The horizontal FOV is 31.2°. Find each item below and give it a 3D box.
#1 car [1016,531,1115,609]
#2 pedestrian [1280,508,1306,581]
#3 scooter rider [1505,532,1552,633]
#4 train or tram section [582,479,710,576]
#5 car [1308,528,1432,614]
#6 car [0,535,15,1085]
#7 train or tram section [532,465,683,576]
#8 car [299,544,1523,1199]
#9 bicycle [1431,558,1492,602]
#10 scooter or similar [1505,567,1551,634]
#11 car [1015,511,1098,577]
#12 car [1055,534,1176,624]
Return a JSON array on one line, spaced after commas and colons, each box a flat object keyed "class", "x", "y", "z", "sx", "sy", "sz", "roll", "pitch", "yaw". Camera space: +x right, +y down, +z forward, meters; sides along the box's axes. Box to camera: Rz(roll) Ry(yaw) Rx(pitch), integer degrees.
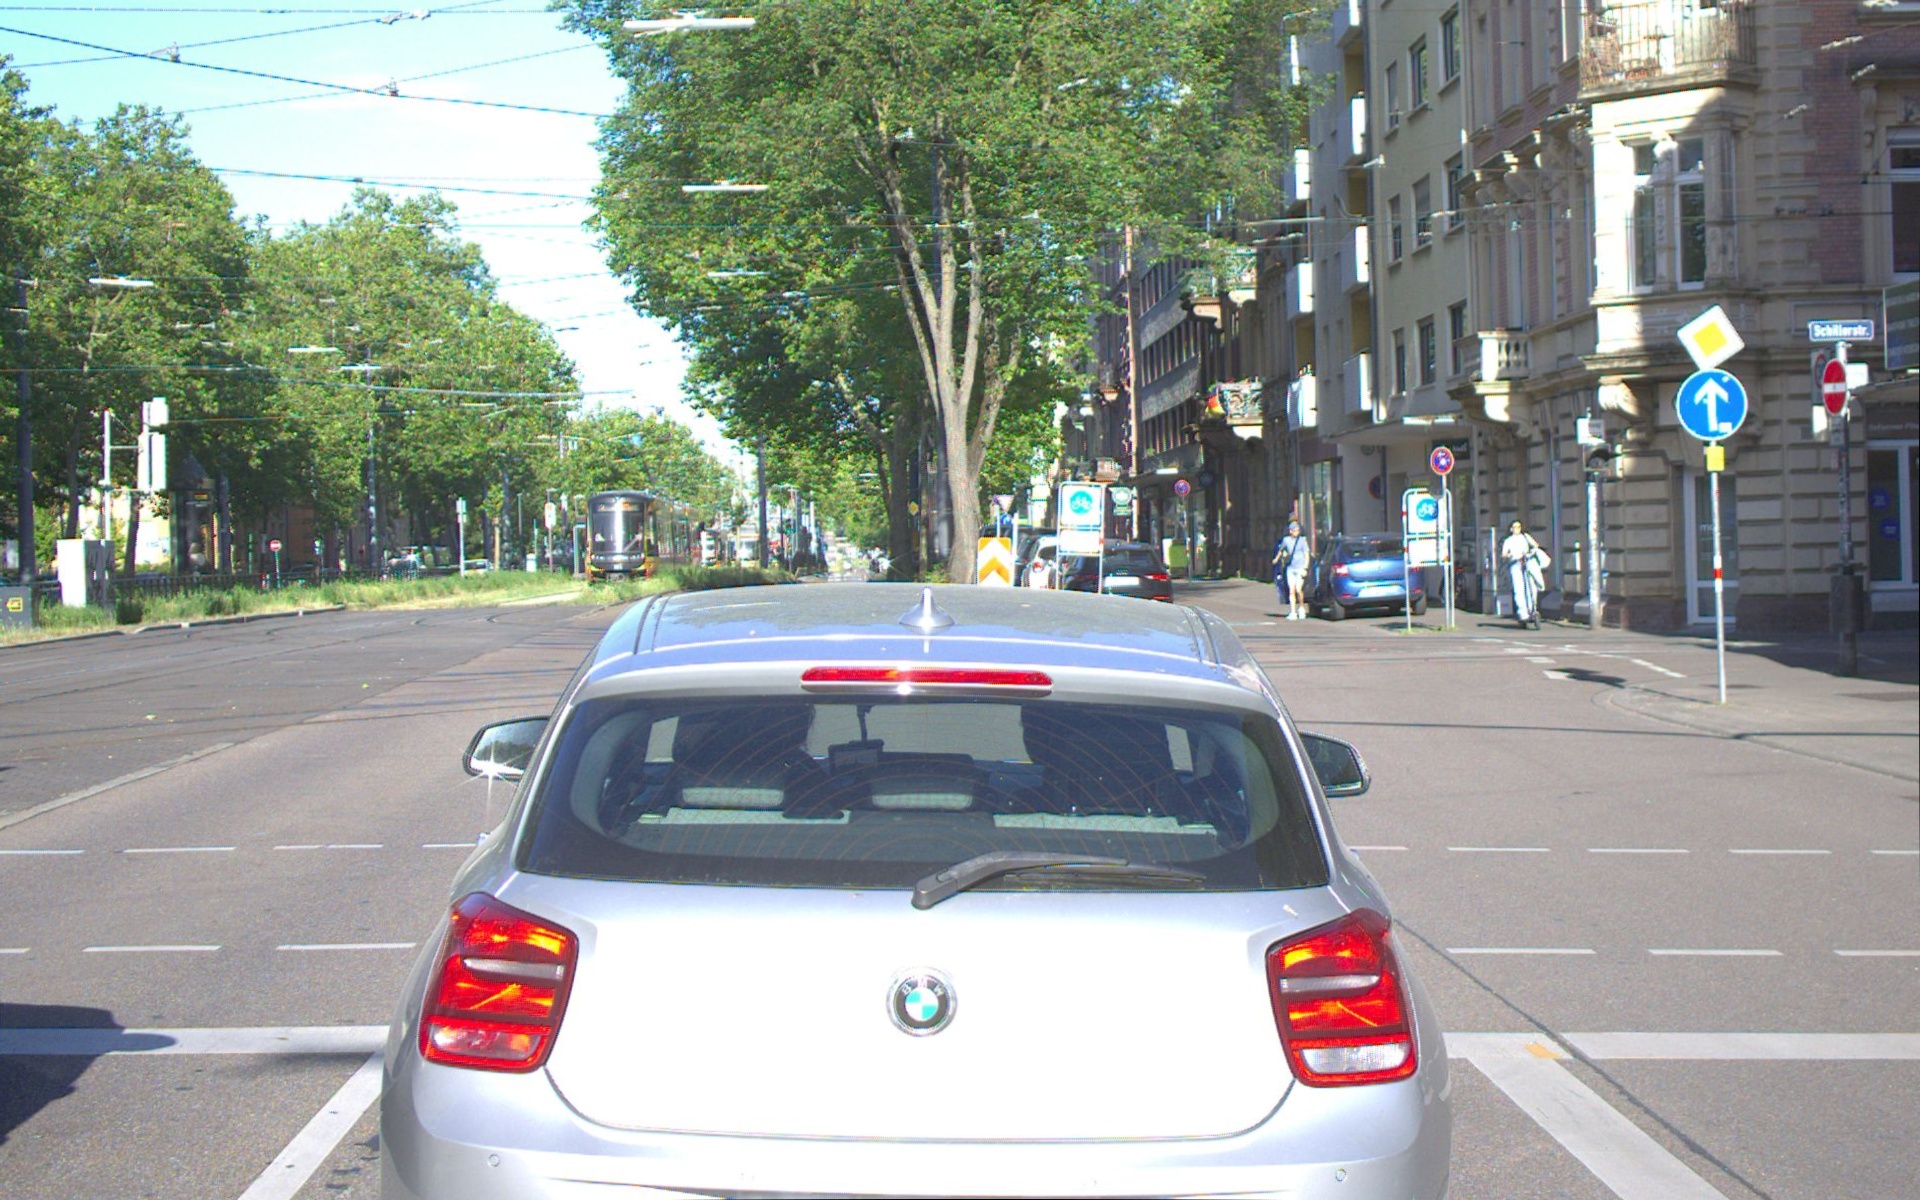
[{"class": "car", "x": 2.057, "y": -0.611, "z": 68.082, "sx": 1.724, "sy": 1.501, "sz": 3.555, "roll": 0, "pitch": 1, "yaw": -2}, {"class": "pedestrian", "x": 8.277, "y": -1.394, "z": 85.461, "sx": 0.505, "sy": 1.795, "sz": 0.805, "roll": -1, "pitch": 1, "yaw": -1}, {"class": "scooter rider", "x": 8.632, "y": -0.271, "z": 52.203, "sx": 0.465, "sy": 1.500, "sz": 0.811, "roll": -1, "pitch": 1, "yaw": -8}, {"class": "train or tram section", "x": -13.196, "y": -3.098, "z": 146.321, "sx": 4.005, "sy": 3.852, "sz": 17.490, "roll": -1, "pitch": 1, "yaw": -1}, {"class": "car", "x": 7.447, "y": -0.543, "z": 62.732, "sx": 1.735, "sy": 1.514, "sz": 3.637, "roll": 0, "pitch": 1, "yaw": -1}, {"class": "car", "x": -3.217, "y": 0.610, "z": 7.347, "sx": 1.609, "sy": 1.462, "sz": 3.891, "roll": -1, "pitch": 1, "yaw": -5}, {"class": "train or tram section", "x": -13.023, "y": -2.965, "z": 128.917, "sx": 3.969, "sy": 3.852, "sz": 17.490, "roll": -1, "pitch": 1, "yaw": -1}, {"class": "car", "x": -0.100, "y": 0.639, "z": 6.920, "sx": 1.740, "sy": 1.462, "sz": 4.000, "roll": 1, "pitch": 1, "yaw": -1}, {"class": "bicycle", "x": 9.194, "y": -0.370, "z": 63.083, "sx": 0.754, "sy": 0.768, "sz": 1.945, "roll": -1, "pitch": 1, "yaw": -2}, {"class": "scooter or similar", "x": 8.629, "y": -0.003, "z": 52.249, "sx": 0.337, "sy": 0.984, "sz": 1.284, "roll": -1, "pitch": 1, "yaw": -7}, {"class": "car", "x": 2.252, "y": -1.325, "z": 80.805, "sx": 1.724, "sy": 1.501, "sz": 3.555, "roll": 0, "pitch": 1, "yaw": -2}, {"class": "car", "x": 2.547, "y": -0.366, "z": 56.913, "sx": 1.735, "sy": 1.428, "sz": 3.678, "roll": 0, "pitch": 1, "yaw": -2}]
